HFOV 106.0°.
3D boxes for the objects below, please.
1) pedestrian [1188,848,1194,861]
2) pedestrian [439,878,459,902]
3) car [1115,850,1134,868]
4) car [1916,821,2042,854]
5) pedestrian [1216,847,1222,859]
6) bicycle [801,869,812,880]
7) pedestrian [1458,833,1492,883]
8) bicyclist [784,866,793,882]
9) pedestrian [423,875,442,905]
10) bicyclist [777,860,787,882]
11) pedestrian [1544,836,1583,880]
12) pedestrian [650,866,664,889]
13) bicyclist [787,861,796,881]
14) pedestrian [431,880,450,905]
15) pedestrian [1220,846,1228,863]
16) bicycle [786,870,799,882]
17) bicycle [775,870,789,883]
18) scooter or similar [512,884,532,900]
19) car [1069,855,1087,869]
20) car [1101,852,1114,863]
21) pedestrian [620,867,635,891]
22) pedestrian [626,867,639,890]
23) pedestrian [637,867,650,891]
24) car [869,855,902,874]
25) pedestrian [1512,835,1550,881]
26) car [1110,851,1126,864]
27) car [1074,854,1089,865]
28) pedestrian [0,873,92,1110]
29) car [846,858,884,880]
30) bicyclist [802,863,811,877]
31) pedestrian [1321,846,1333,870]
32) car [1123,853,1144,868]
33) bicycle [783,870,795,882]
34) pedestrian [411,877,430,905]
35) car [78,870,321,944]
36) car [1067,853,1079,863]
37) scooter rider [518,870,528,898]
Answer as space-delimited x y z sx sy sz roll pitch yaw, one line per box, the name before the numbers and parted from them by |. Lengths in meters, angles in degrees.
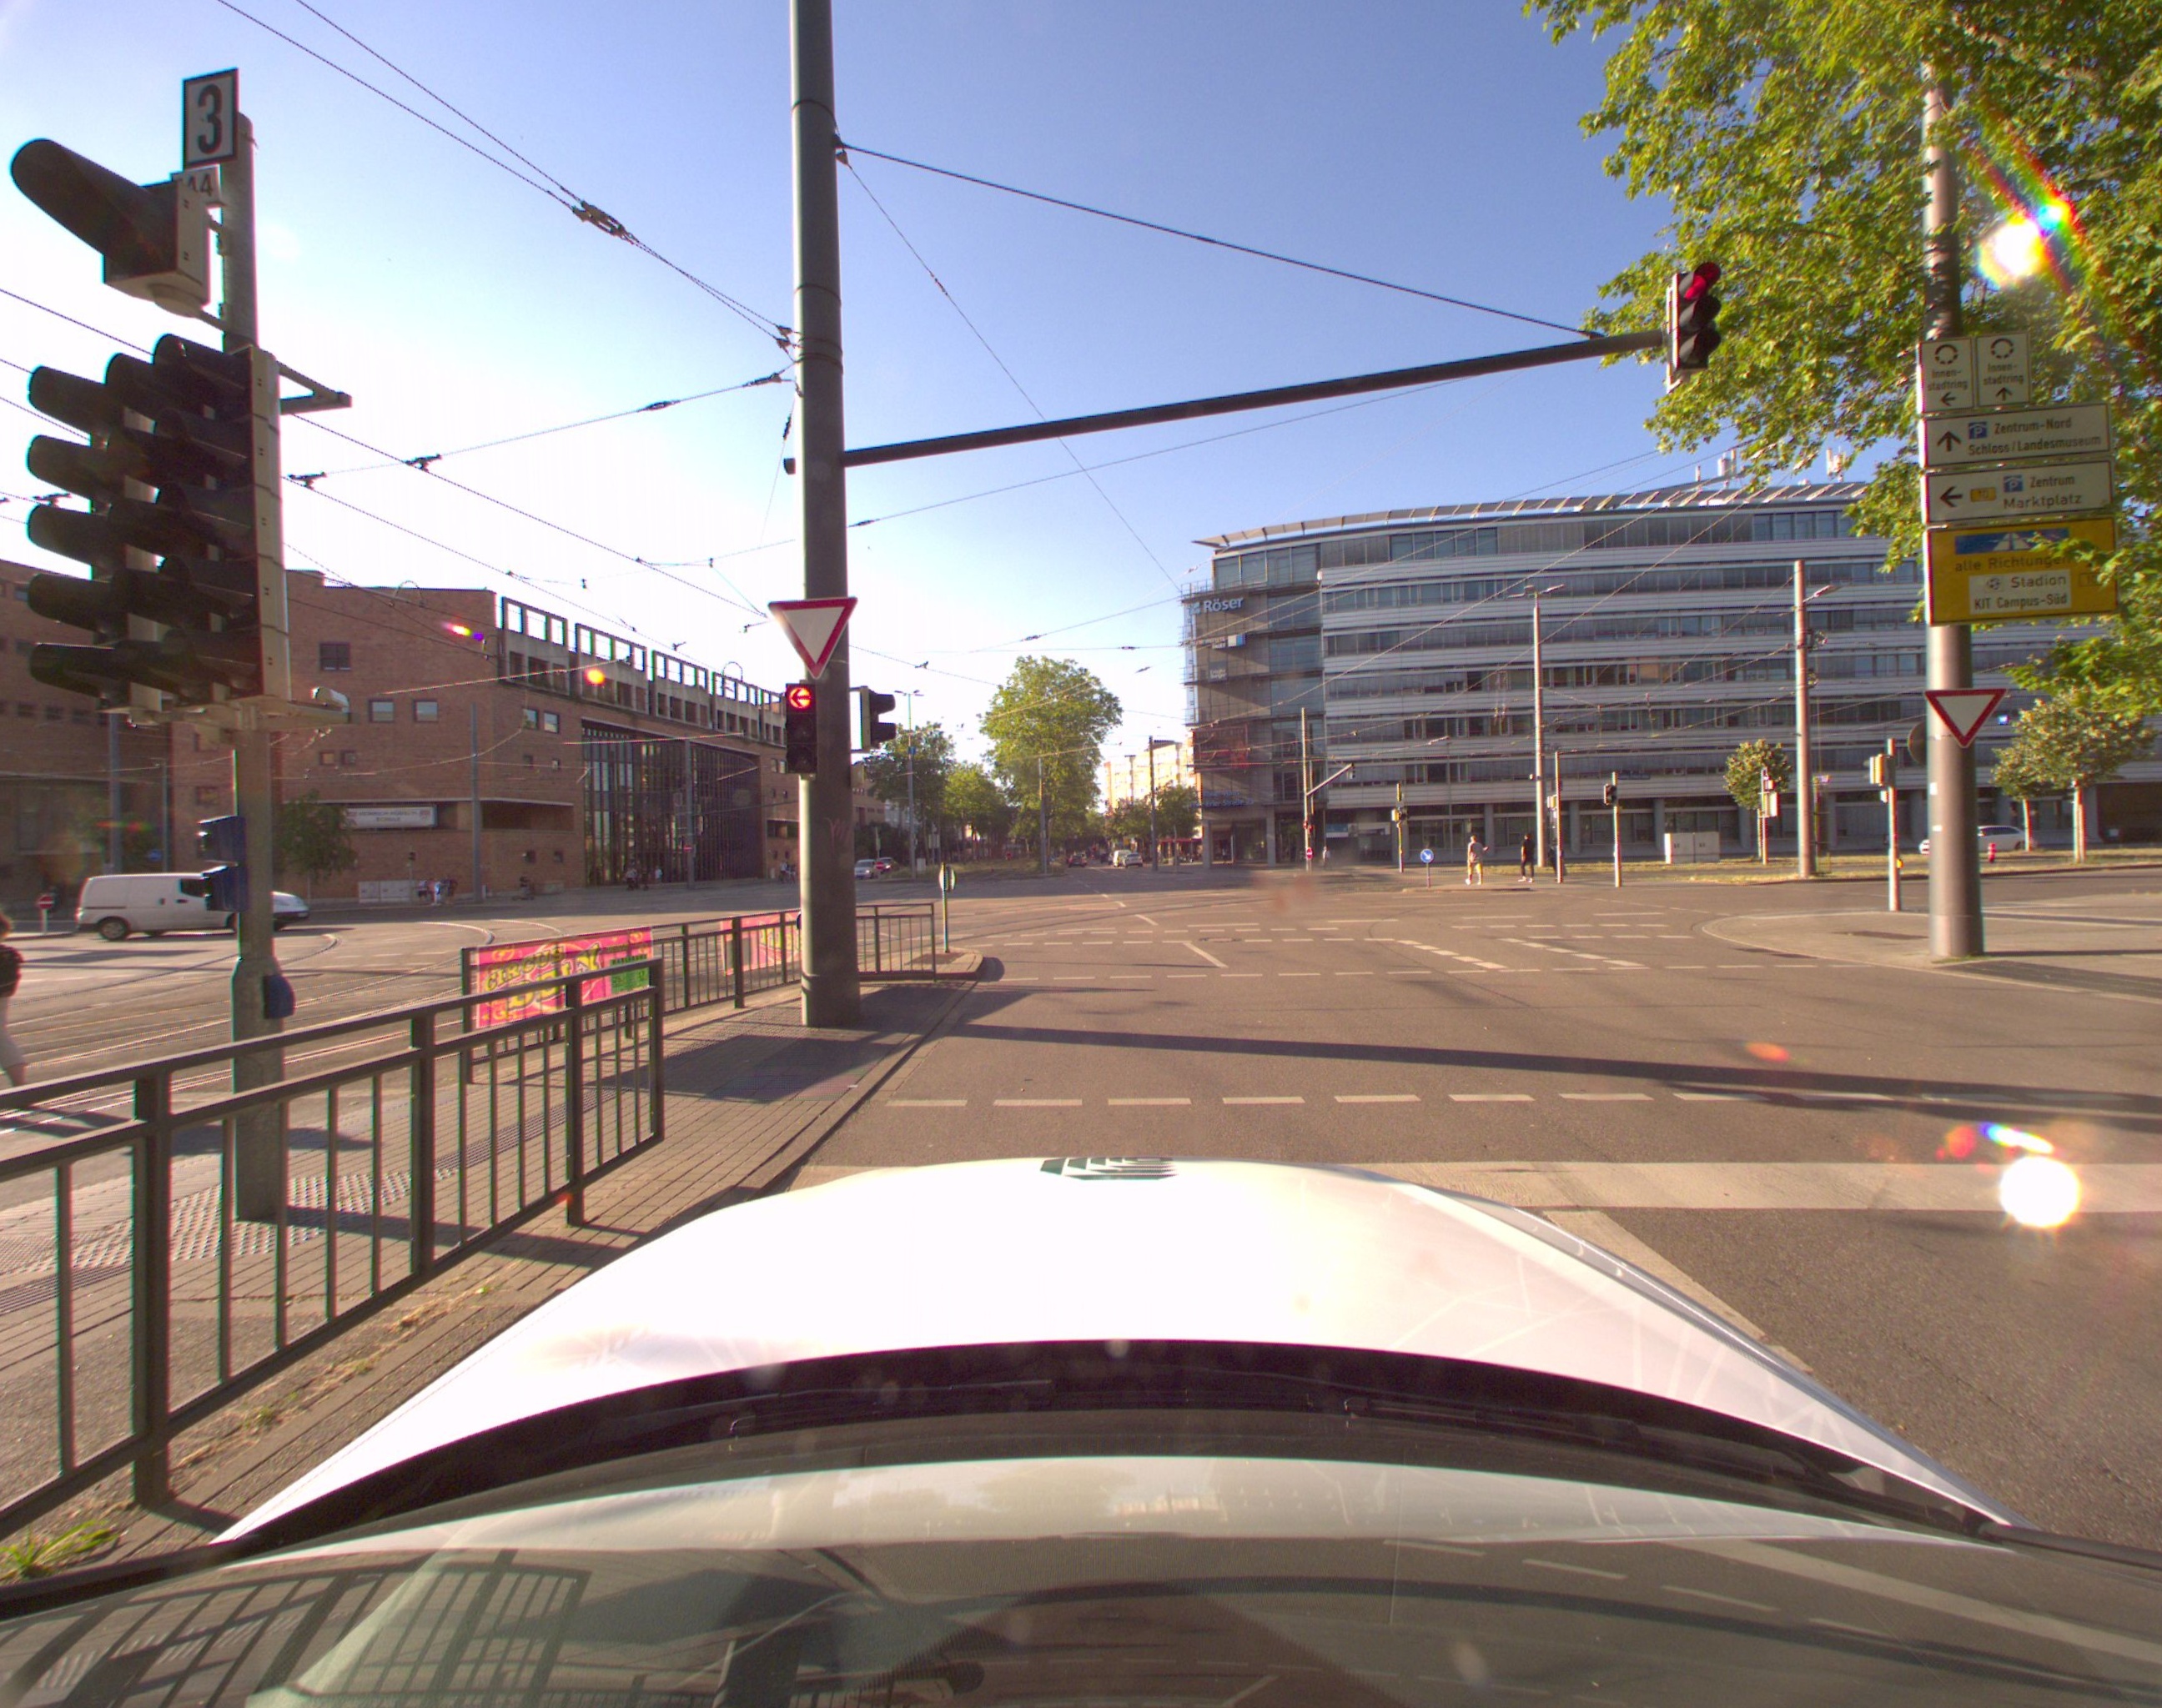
pedestrian | 14.163 0.046 104.760 0.741 1.714 0.612 -2 0 1
pedestrian | -36.537 2.077 47.088 0.600 1.339 0.681 -2 0 1
car | 4.744 0.495 89.635 1.986 1.860 4.002 -2 0 2
car | 46.037 -0.813 41.838 4.274 1.488 1.764 -2 0 5
pedestrian | 20.611 -0.170 121.706 0.741 1.714 0.612 -2 0 1
bicycle | -24.330 1.810 72.152 0.449 0.963 1.348 -2 0 2
pedestrian | 14.384 0.150 29.736 0.858 1.788 0.874 -2 0 9
bicyclist | -24.880 1.709 69.372 0.503 1.304 0.581 -2 0 1
pedestrian | -37.552 2.085 47.143 0.597 1.648 0.549 -2 0 1
bicyclist | -24.347 1.359 66.261 0.534 1.731 0.581 -2 0 1
pedestrian | 18.076 0.145 30.552 0.943 1.564 0.899 -2 0 9
pedestrian | -31.439 1.748 60.367 0.608 1.625 0.619 -2 0 3
bicyclist | -23.632 1.386 66.522 0.456 1.603 0.581 -2 0 1
pedestrian | -38.026 2.262 48.352 0.566 1.453 0.614 -2 0 -2
pedestrian | 13.180 0.017 75.034 0.608 1.507 0.580 -2 0 9
bicycle | -23.613 1.813 66.629 0.471 0.963 1.576 -2 0 2
bicycle | -24.342 1.846 66.308 0.540 0.963 1.587 -2 0 2
scooter or similar | -33.727 2.282 49.145 0.956 0.899 0.173 -2 0 -45
car | -0.325 0.883 92.315 1.791 1.442 4.002 -2 0 2
car | 4.089 0.481 126.776 1.986 1.618 4.002 -2 0 2
pedestrian | -32.557 1.816 58.465 0.647 1.683 0.622 -2 0 0
pedestrian | -33.285 1.790 60.412 0.569 1.683 0.550 -2 0 4
pedestrian | -31.536 1.823 58.700 0.587 1.683 0.551 -2 0 4
car | -18.116 0.965 75.523 1.987 1.640 4.001 -2 0 1
pedestrian | 17.023 0.149 30.836 0.907 1.685 1.038 -2 0 9
car | 4.819 0.478 105.292 1.986 1.618 4.002 -2 0 2
car | 0.089 0.696 104.315 1.791 1.442 4.001 0 -1 2
pedestrian | -8.080 0.987 5.881 0.954 1.647 0.718 -2 0 1
car | -18.006 1.222 67.948 1.987 1.640 4.001 -2 0 1
bicyclist | -24.321 1.443 72.162 0.503 1.179 0.581 -2 0 1
pedestrian | 16.193 0.261 53.598 0.608 1.507 0.580 -2 0 9
car | 5.289 0.622 82.818 1.986 1.376 4.002 -2 0 2
bicycle | -24.880 1.839 69.404 0.466 0.963 1.320 -2 0 2
pedestrian | -38.437 2.144 47.383 0.594 1.614 0.589 -2 0 1
car | -26.012 1.499 24.255 4.527 1.867 1.749 -2 0 -21
car | -1.244 0.623 126.573 1.792 1.442 3.999 0 -1 0
scooter rider | -33.711 1.810 49.179 0.441 1.647 0.226 -2 0 -44
